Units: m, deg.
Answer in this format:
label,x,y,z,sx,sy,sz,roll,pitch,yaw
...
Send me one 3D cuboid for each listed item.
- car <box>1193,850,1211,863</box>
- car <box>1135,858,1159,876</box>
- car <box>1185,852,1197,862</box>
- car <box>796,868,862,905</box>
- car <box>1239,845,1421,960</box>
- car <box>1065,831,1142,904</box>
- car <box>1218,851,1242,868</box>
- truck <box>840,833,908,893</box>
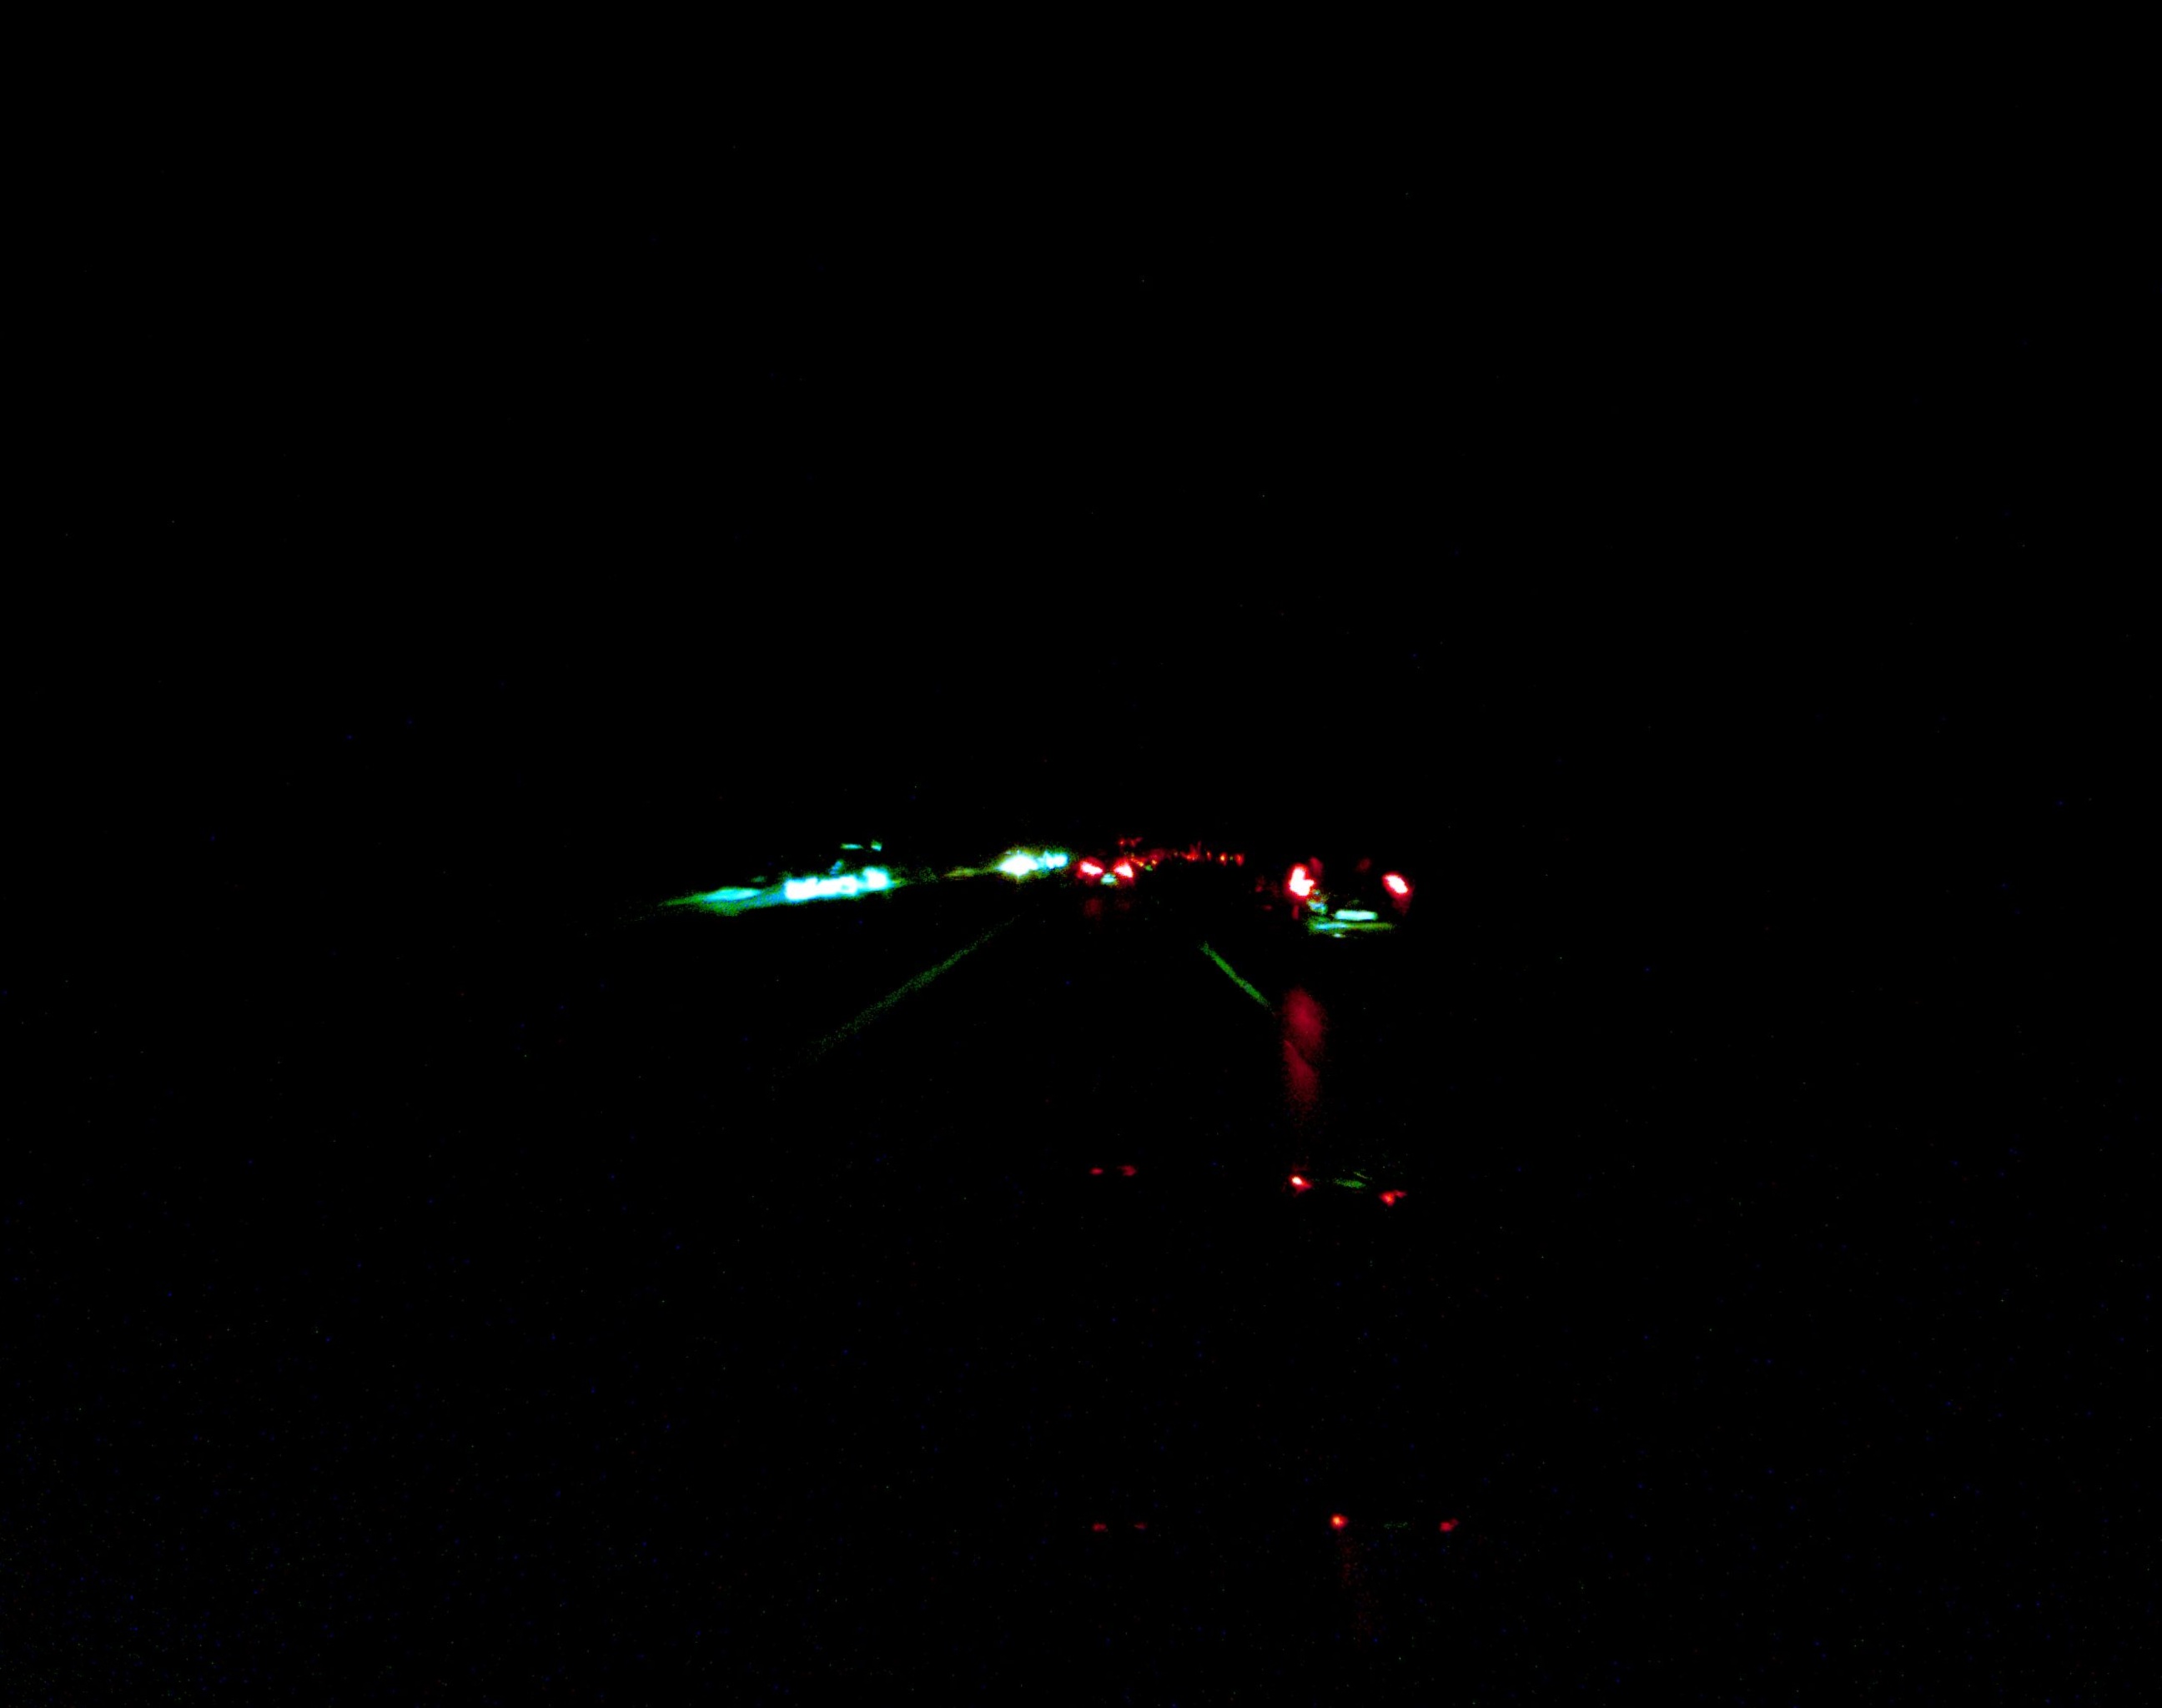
label,x,y,z,sx,sy,sz,roll,pitch,yaw
car,15.444,0.275,104.109,1.849,1.618,4.002,0,0,2
car,6.022,1.139,74.892,2.128,1.618,4.003,0,0,3
car,17.156,0.464,126.952,1.704,1.558,4.007,0,0,6
car,-12.077,1.520,39.313,1.790,1.574,3.975,-2,0,2
car,3.871,0.681,13.393,1.877,1.588,4.002,-1,0,2
car,0.851,0.479,33.009,2.701,2.534,5.831,-3,0,0
car,14.435,0.517,79.180,1.848,1.618,4.003,0,0,3
truck,-15.202,0.601,60.439,2.910,4.094,6.996,-3,0,2
